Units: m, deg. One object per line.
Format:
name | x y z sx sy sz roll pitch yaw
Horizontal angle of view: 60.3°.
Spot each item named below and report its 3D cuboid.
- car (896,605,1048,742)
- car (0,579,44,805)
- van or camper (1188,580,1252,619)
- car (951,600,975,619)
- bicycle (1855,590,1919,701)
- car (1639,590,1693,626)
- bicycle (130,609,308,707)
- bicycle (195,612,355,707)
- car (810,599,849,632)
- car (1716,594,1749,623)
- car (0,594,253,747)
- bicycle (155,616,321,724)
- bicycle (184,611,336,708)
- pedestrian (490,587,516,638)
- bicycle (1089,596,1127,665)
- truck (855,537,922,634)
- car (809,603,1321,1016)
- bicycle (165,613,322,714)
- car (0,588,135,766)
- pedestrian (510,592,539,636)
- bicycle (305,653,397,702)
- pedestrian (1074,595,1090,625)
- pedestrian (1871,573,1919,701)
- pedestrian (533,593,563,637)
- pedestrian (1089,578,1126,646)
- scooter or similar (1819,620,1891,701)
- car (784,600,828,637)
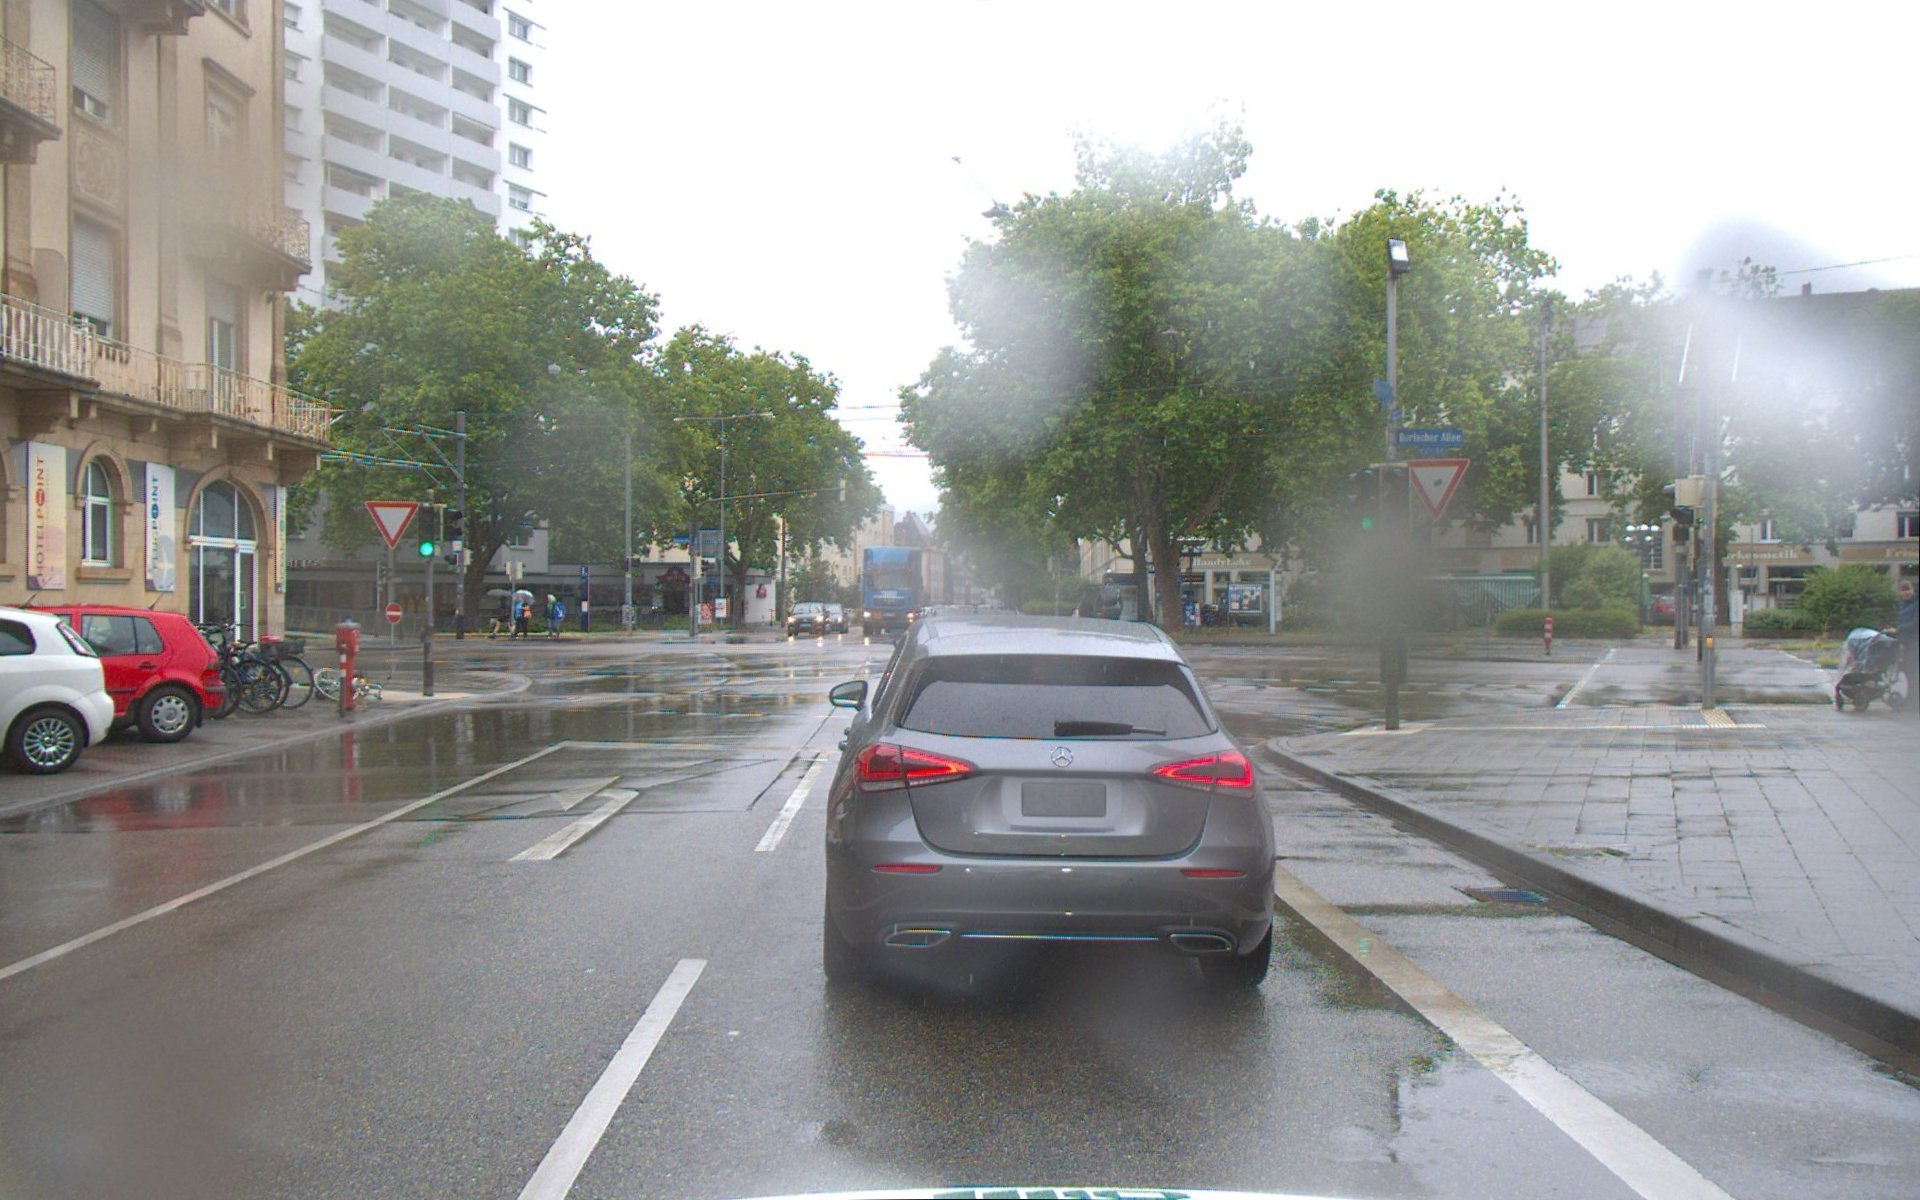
car | 0.099 0.773 19.335 1.574 1.396 3.999 -1 0 -1
car | -9.231 0.660 12.210 4.048 1.721 1.738 1 0 -41
van or camper | 15.951 -0.026 101.127 2.349 2.270 5.424 -1 -1 27
car | 0.218 0.845 142.734 1.953 1.601 3.998 0 -1 -2
bicycle | 13.072 0.610 22.459 0.522 1.492 1.935 -1 0 -10
car | 31.329 0.366 73.504 1.627 1.548 3.682 -1 0 14
bicycle | -10.984 0.843 24.578 2.295 1.369 0.639 -1 0 -6
bicycle | -9.480 0.821 22.934 1.941 1.205 0.474 3 -1 -4
car | -6.500 0.751 82.579 1.691 1.573 4.339 -1 0 -1
car | 42.201 0.494 90.384 1.518 1.492 3.365 -1 -2 24
car | -9.902 0.710 17.659 1.770 1.534 3.979 0 0 40
bicycle | -9.067 0.868 20.800 1.772 1.205 0.601 4 0 5
bicycle | -9.451 0.798 22.370 1.774 1.205 0.468 3 0 -3
pedestrian | -16.973 0.461 61.425 0.674 1.870 0.630 -1 0 -43
bicycle | 3.172 0.620 35.270 0.733 1.401 2.709 -1 0 6
truck | -3.183 -0.626 75.999 2.788 4.096 10.313 -1 0 -1
car | 0.344 0.731 7.479 1.755 1.396 3.506 1 0 -1
bicycle | -9.462 0.834 21.873 1.774 1.205 0.475 4 0 -3
car | -9.713 0.663 14.723 3.957 1.560 1.679 1 0 -41
pedestrian | -16.818 0.545 63.887 0.774 1.677 0.817 -1 0 14
bicycle | -9.210 1.161 24.977 1.029 0.675 1.462 2 -1 -31
pedestrian | 7.015 0.569 95.227 0.658 1.698 0.709 0 -1 -36
pedestrian | 12.718 0.480 22.216 0.590 1.692 0.689 -1 0 2
pedestrian | -15.844 0.567 63.572 0.817 1.677 0.756 -1 0 14
pedestrian | 3.143 0.253 35.155 0.728 1.422 1.048 -1 0 6
scooter or similar | 12.199 0.816 22.568 0.502 1.067 0.924 -1 0 2
car | -6.870 0.819 74.116 1.708 1.573 3.777 -1 0 -1
